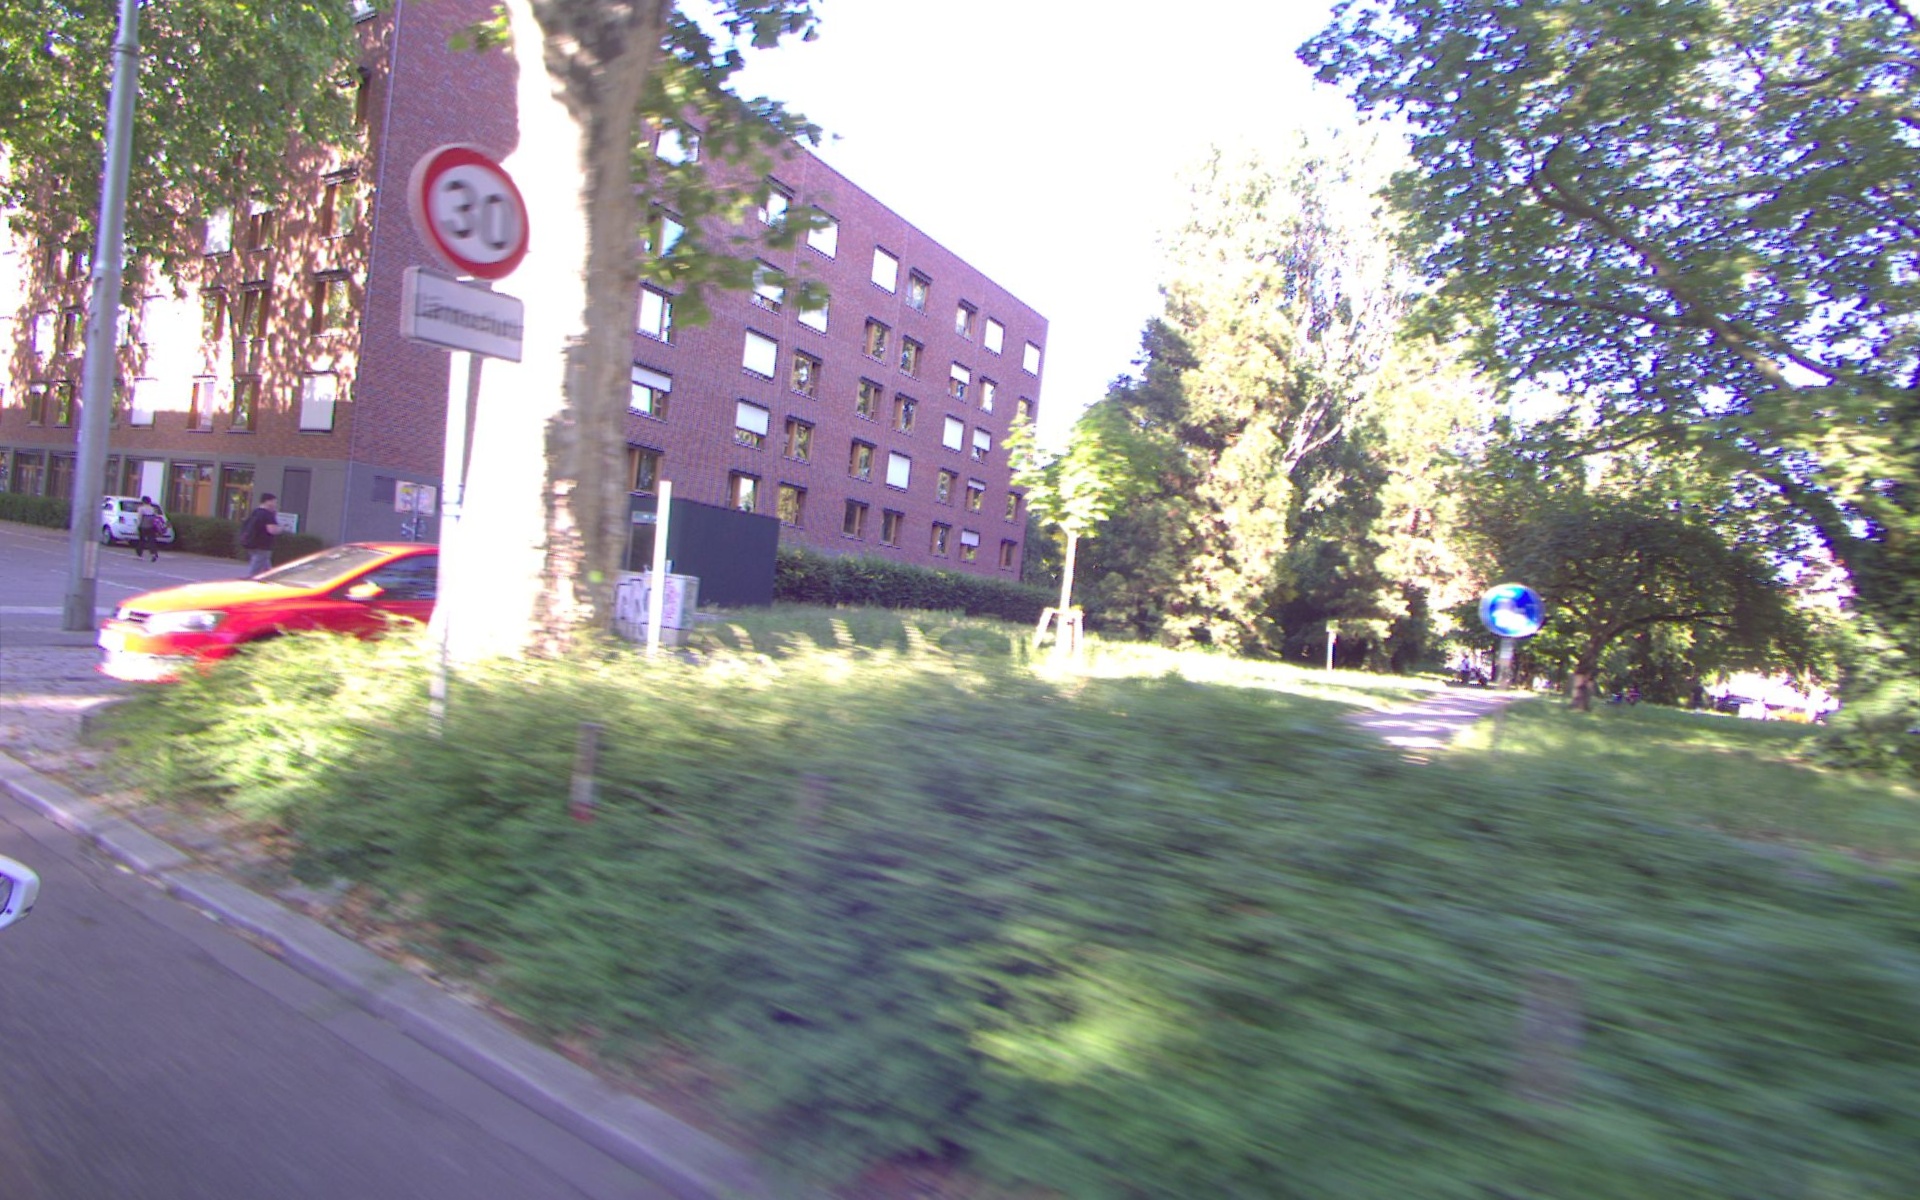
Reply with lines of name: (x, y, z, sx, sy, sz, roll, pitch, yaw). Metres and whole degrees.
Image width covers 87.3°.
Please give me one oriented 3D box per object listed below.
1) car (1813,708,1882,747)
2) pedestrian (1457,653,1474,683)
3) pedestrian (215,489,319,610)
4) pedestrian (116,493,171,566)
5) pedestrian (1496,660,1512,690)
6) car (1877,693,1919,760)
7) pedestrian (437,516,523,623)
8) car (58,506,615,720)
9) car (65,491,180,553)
car: (46.392, 6.647, 52.647, 1.769, 1.529, 3.992, 7, 0, 30)
pedestrian: (29.717, 4.014, 59.155, 0.639, 1.682, 0.648, 7, 2, 32)
pedestrian: (-11.409, -0.811, 16.573, 0.849, 1.834, 0.996, 7, 1, 27)
pedestrian: (-20.619, -1.780, 25.418, 0.821, 1.690, 0.736, 7, 1, 31)
pedestrian: (32.255, 4.454, 59.635, 0.639, 1.682, 0.648, 7, 2, 32)
car: (41.274, 5.462, 42.863, 1.943, 2.595, 5.035, 7, 1, 30)
pedestrian: (-9.033, -0.576, 18.939, 0.998, 1.890, 0.983, 7, 4, 27)
car: (-5.335, 0.181, 9.101, 1.622, 1.441, 3.885, 7, 0, 35)
car: (-25.762, -2.399, 30.937, 3.360, 1.514, 1.602, 7, 1, 31)
